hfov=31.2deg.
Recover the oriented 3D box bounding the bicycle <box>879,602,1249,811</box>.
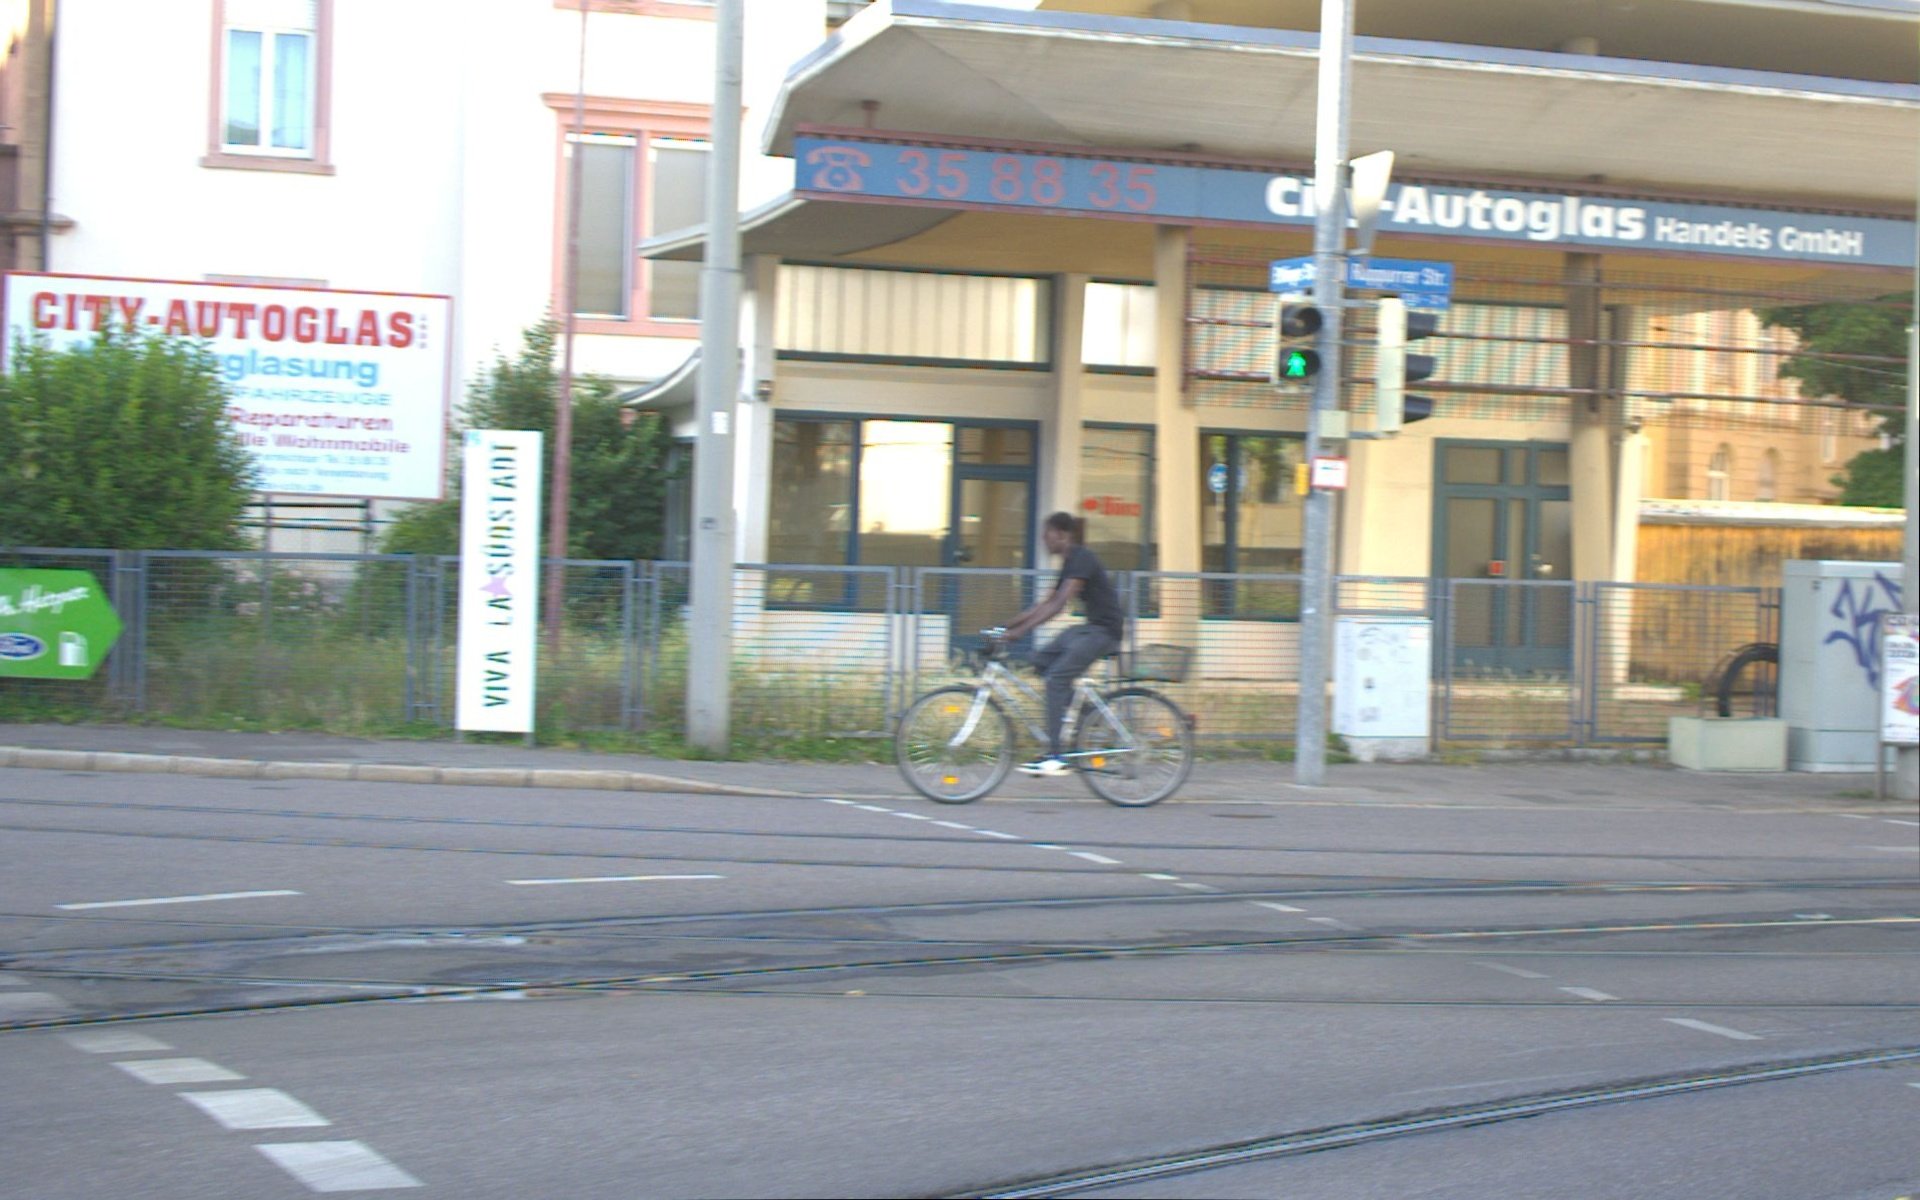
[{"bbox_3d":[0.591,0.617,20.242,2.058,1.121,0.896,2,1,-4],"label":"bicycle"}]

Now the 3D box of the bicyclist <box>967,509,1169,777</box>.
[{"bbox_3d":[0.623,0.242,20.238,1.047,1.521,0.879,1,1,-5],"label":"bicyclist"}]
